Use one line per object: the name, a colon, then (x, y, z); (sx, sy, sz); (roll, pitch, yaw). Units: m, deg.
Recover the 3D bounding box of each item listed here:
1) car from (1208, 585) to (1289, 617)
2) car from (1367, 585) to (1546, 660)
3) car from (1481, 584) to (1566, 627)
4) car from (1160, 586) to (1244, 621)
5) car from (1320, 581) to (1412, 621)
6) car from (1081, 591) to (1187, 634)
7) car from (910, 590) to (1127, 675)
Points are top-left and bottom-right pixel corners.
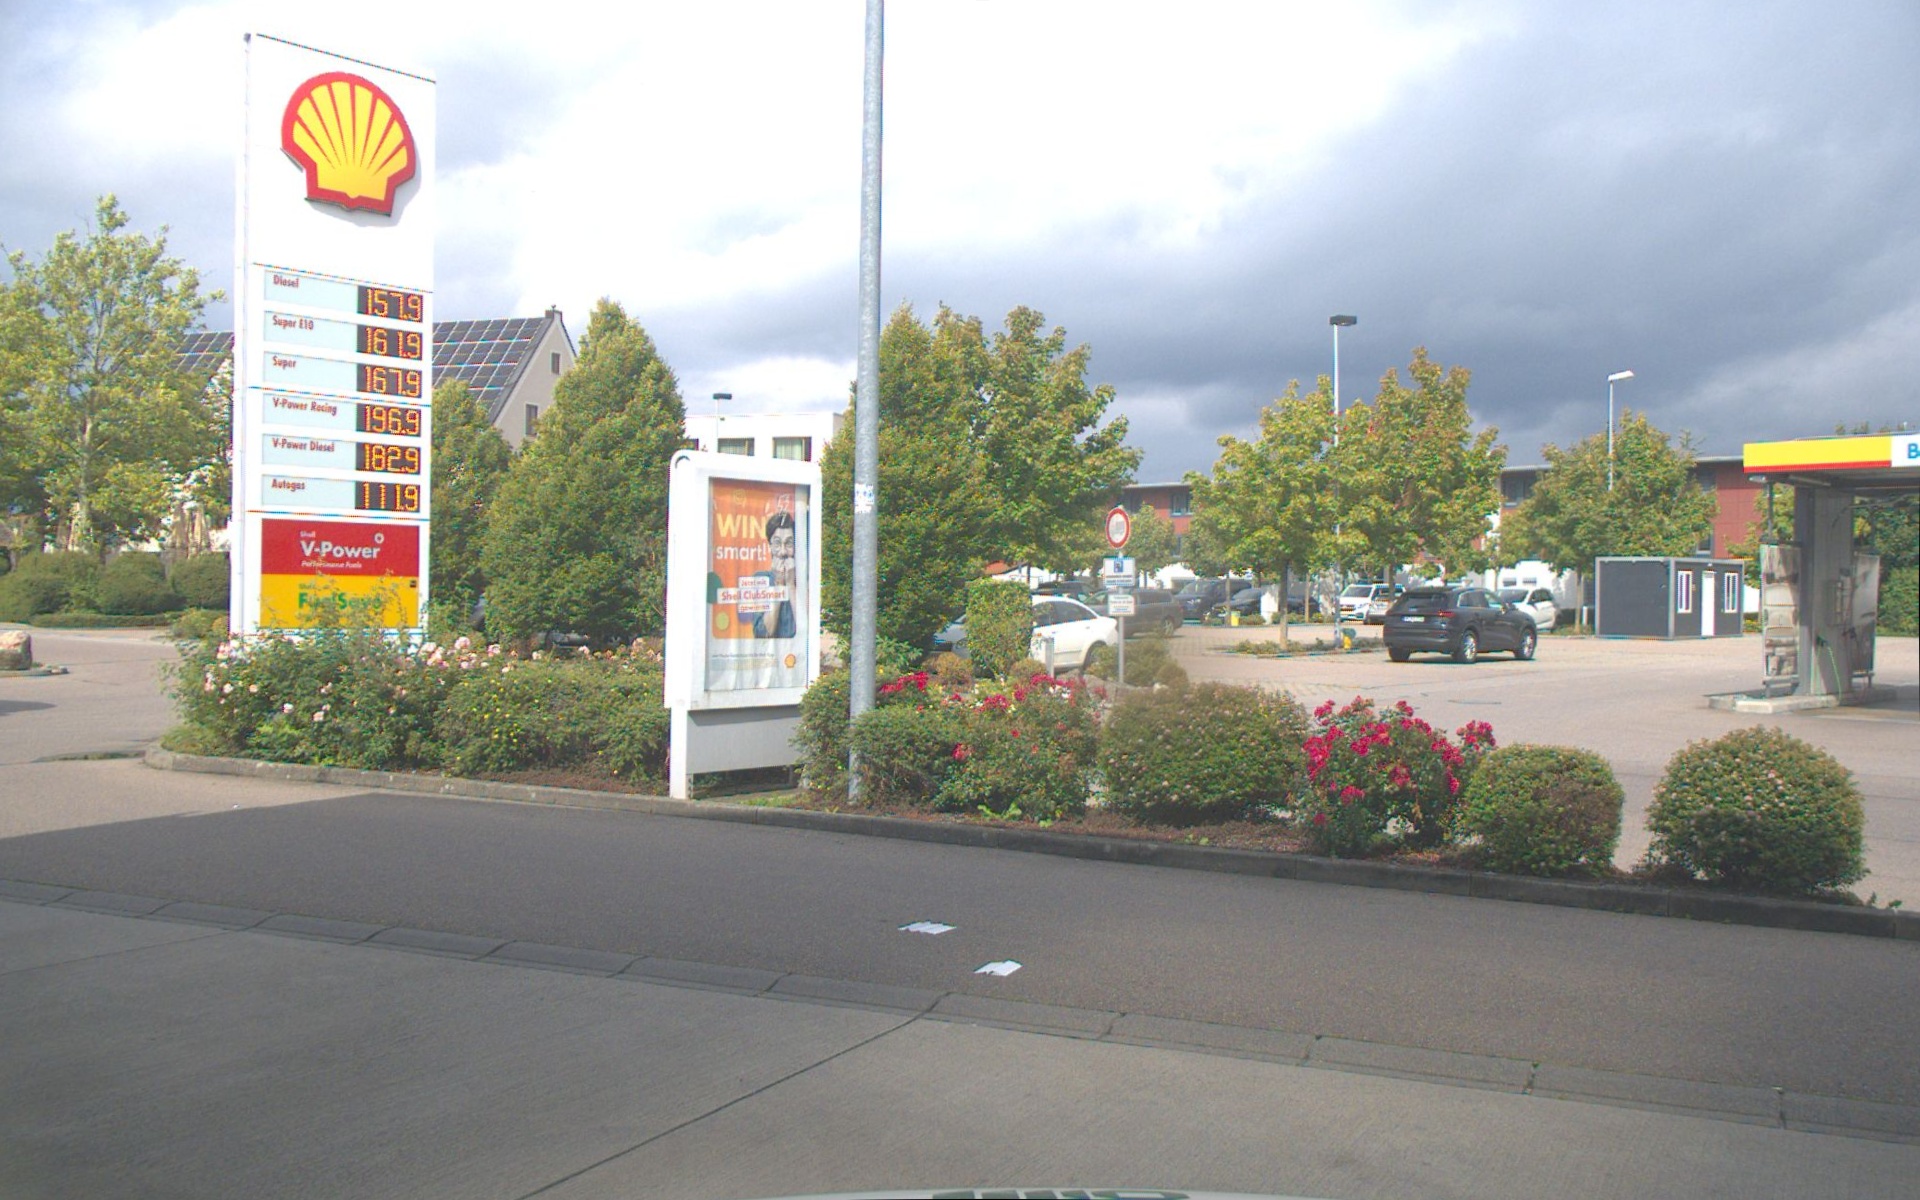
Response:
car: (11.394, 0.056, 65.189); (3.393, 1.199, 1.462); (1, 0, -45)
car: (11.117, 0.496, 36.872); (4.467, 1.575, 1.856); (1, 0, -44)
car: (17.991, 0.183, 52.786); (3.080, 1.330, 1.346); (1, -1, -45)
car: (9.792, 0.160, 66.911); (3.364, 1.343, 1.719); (1, 0, -45)
car: (19.894, 0.053, 80.926); (4.839, 1.865, 2.150); (1, 0, -44)
car: (5.263, 0.379, 49.770); (3.203, 1.249, 1.481); (1, 0, -45)
car: (1.120, 0.585, 29.913); (1.348, 1.428, 4.312); (1, -1, 45)
